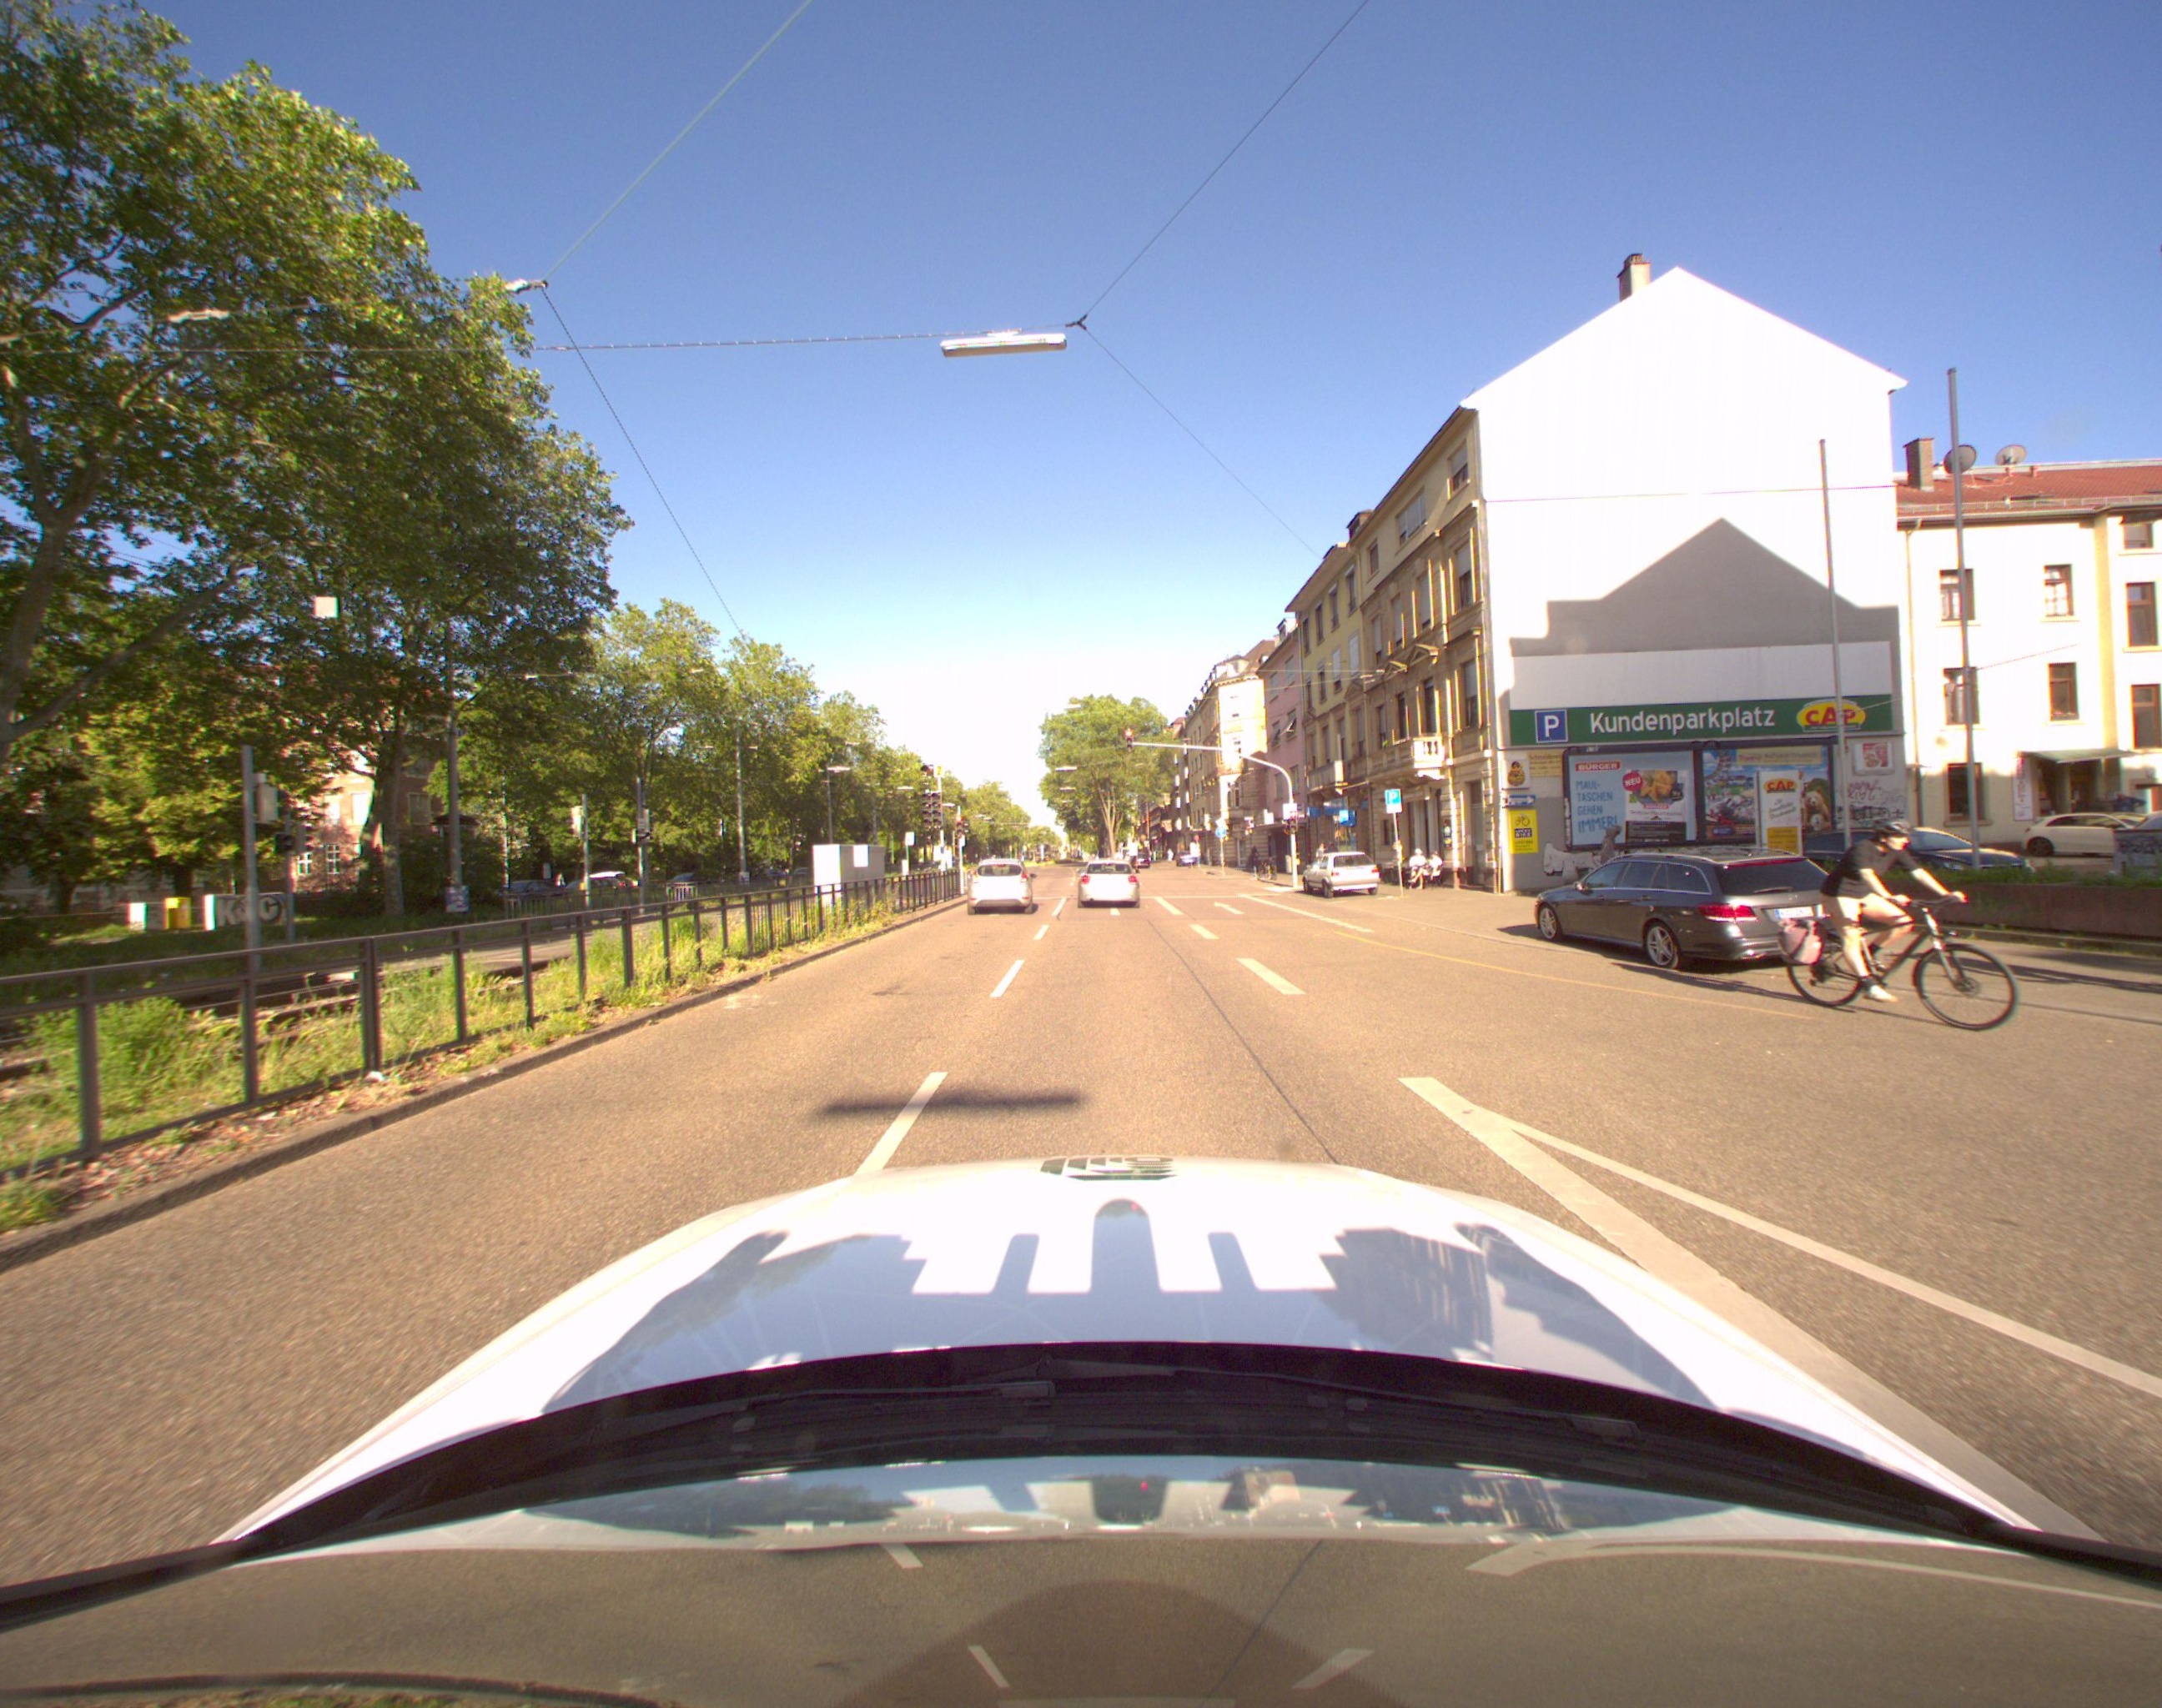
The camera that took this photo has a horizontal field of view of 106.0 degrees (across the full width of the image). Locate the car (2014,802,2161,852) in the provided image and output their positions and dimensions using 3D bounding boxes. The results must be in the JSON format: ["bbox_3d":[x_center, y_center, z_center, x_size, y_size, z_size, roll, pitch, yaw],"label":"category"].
[{"bbox_3d":[32.372,-0.818,25.507,1.748,1.464,4.001,-2,0,1],"label":"car"}]

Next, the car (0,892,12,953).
[{"bbox_3d":[-27.914,1.757,18.527,1.664,1.509,4.144,-2,0,0],"label":"car"}]

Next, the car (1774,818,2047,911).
[{"bbox_3d":[15.169,0.167,15.168,1.554,1.485,3.392,-2,0,-2],"label":"car"}]

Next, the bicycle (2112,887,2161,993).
[{"bbox_3d":[10.256,0.794,6.873,0.647,0.920,1.919,-6,0,3],"label":"bicycle"}]

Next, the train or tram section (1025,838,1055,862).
[{"bbox_3d":[-7.199,-0.750,147.513,3.954,3.865,17.494,-2,0,2],"label":"train or tram section"}]

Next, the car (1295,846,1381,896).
[{"bbox_3d":[8.460,0.515,27.131,1.557,1.415,4.005,-5,0,1],"label":"car"}]

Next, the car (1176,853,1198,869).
[{"bbox_3d":[10.505,0.714,80.954,1.729,1.519,3.637,-1,0,1],"label":"car"}]

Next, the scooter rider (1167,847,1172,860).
[{"bbox_3d":[10.893,-0.073,100.112,0.463,1.505,0.811,-1,-1,2],"label":"scooter rider"}]

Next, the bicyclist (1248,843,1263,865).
[{"bbox_3d":[12.120,-0.004,56.676,0.541,1.502,0.967,-2,0,42],"label":"bicyclist"}]

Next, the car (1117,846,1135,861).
[{"bbox_3d":[4.745,-0.039,86.487,1.719,1.507,3.554,-1,0,0],"label":"car"}]

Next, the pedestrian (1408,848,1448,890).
[{"bbox_3d":[11.156,0.476,26.205,0.899,1.281,0.655,-4,0,-4],"label":"pedestrian"}]

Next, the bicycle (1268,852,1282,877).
[{"bbox_3d":[9.402,0.474,39.584,0.446,1.159,1.762,-2,0,7],"label":"bicycle"}]

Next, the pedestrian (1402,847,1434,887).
[{"bbox_3d":[11.138,0.424,26.932,0.795,1.281,0.608,-2,0,-1],"label":"pedestrian"}]

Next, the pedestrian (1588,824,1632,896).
[{"bbox_3d":[13.214,0.146,20.354,0.762,1.755,0.510,-2,0,-19],"label":"pedestrian"}]

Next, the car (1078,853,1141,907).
[{"bbox_3d":[0.827,0.707,24.519,1.734,1.467,4.001,0,0,1],"label":"car"}]

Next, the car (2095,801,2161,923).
[{"bbox_3d":[15.450,0.071,9.674,1.740,1.644,3.996,-2,0,-2],"label":"car"}]

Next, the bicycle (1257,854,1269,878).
[{"bbox_3d":[8.993,0.597,40.271,0.411,1.141,1.813,-1,0,8],"label":"bicycle"}]

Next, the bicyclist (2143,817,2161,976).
[{"bbox_3d":[10.145,0.367,6.880,0.674,1.446,1.182,-6,0,2],"label":"bicyclist"}]

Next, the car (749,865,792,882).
[{"bbox_3d":[-27.321,1.697,71.872,1.930,1.349,4.848,-2,-1,0],"label":"car"}]

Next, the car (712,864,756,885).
[{"bbox_3d":[-27.709,1.626,65.169,1.664,1.509,4.145,-2,0,0],"label":"car"}]

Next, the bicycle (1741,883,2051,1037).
[{"bbox_3d":[7.227,0.870,7.398,0.755,1.102,1.950,-2,0,-4],"label":"bicycle"}]

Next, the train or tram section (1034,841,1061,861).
[{"bbox_3d":[-6.657,-0.608,165.004,3.990,3.865,17.494,-2,0,2],"label":"train or tram section"}]

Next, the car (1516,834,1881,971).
[{"bbox_3d":[8.574,0.563,12.011,1.826,1.487,4.736,-5,0,2],"label":"car"}]

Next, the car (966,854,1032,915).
[{"bbox_3d":[-2.179,0.774,22.505,1.606,1.467,3.885,-2,0,-3],"label":"car"}]

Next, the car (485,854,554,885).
[{"bbox_3d":[-40.186,1.068,58.390,1.986,2.013,4.001,-2,0,1],"label":"car"}]

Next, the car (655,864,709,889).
[{"bbox_3d":[-27.699,1.553,56.703,1.664,1.509,4.144,-2,0,0],"label":"car"}]

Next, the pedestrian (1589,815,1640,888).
[{"bbox_3d":[13.855,-0.066,21.152,0.762,1.841,0.743,-2,0,-18],"label":"pedestrian"}]

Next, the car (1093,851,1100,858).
[{"bbox_3d":[4.752,0.186,244.118,1.986,2.013,4.002,-3,0,2],"label":"car"}]

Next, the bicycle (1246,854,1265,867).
[{"bbox_3d":[12.167,0.459,56.669,0.646,0.903,1.346,-1,0,43],"label":"bicycle"}]

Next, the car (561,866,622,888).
[{"bbox_3d":[-38.501,1.795,64.062,3.968,1.494,1.395,-2,0,5],"label":"car"}]

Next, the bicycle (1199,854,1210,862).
[{"bbox_3d":[12.296,0.402,81.171,0.752,0.770,1.945,-2,0,0],"label":"bicycle"}]

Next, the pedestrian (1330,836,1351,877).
[{"bbox_3d":[11.699,0.122,36.704,0.670,1.806,0.531,-4,0,1],"label":"pedestrian"}]

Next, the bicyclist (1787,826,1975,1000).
[{"bbox_3d":[7.213,0.494,7.391,0.744,1.462,0.949,-1,0,-8],"label":"bicyclist"}]

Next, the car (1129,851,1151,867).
[{"bbox_3d":[5.447,0.433,75.102,1.730,1.433,3.677,-1,0,0],"label":"car"}]

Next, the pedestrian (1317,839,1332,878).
[{"bbox_3d":[11.010,0.198,36.810,0.547,1.708,0.389,-2,0,4],"label":"pedestrian"}]

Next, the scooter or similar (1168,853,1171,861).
[{"bbox_3d":[10.890,0.391,100.139,0.336,0.988,1.285,-2,0,4],"label":"scooter or similar"}]
